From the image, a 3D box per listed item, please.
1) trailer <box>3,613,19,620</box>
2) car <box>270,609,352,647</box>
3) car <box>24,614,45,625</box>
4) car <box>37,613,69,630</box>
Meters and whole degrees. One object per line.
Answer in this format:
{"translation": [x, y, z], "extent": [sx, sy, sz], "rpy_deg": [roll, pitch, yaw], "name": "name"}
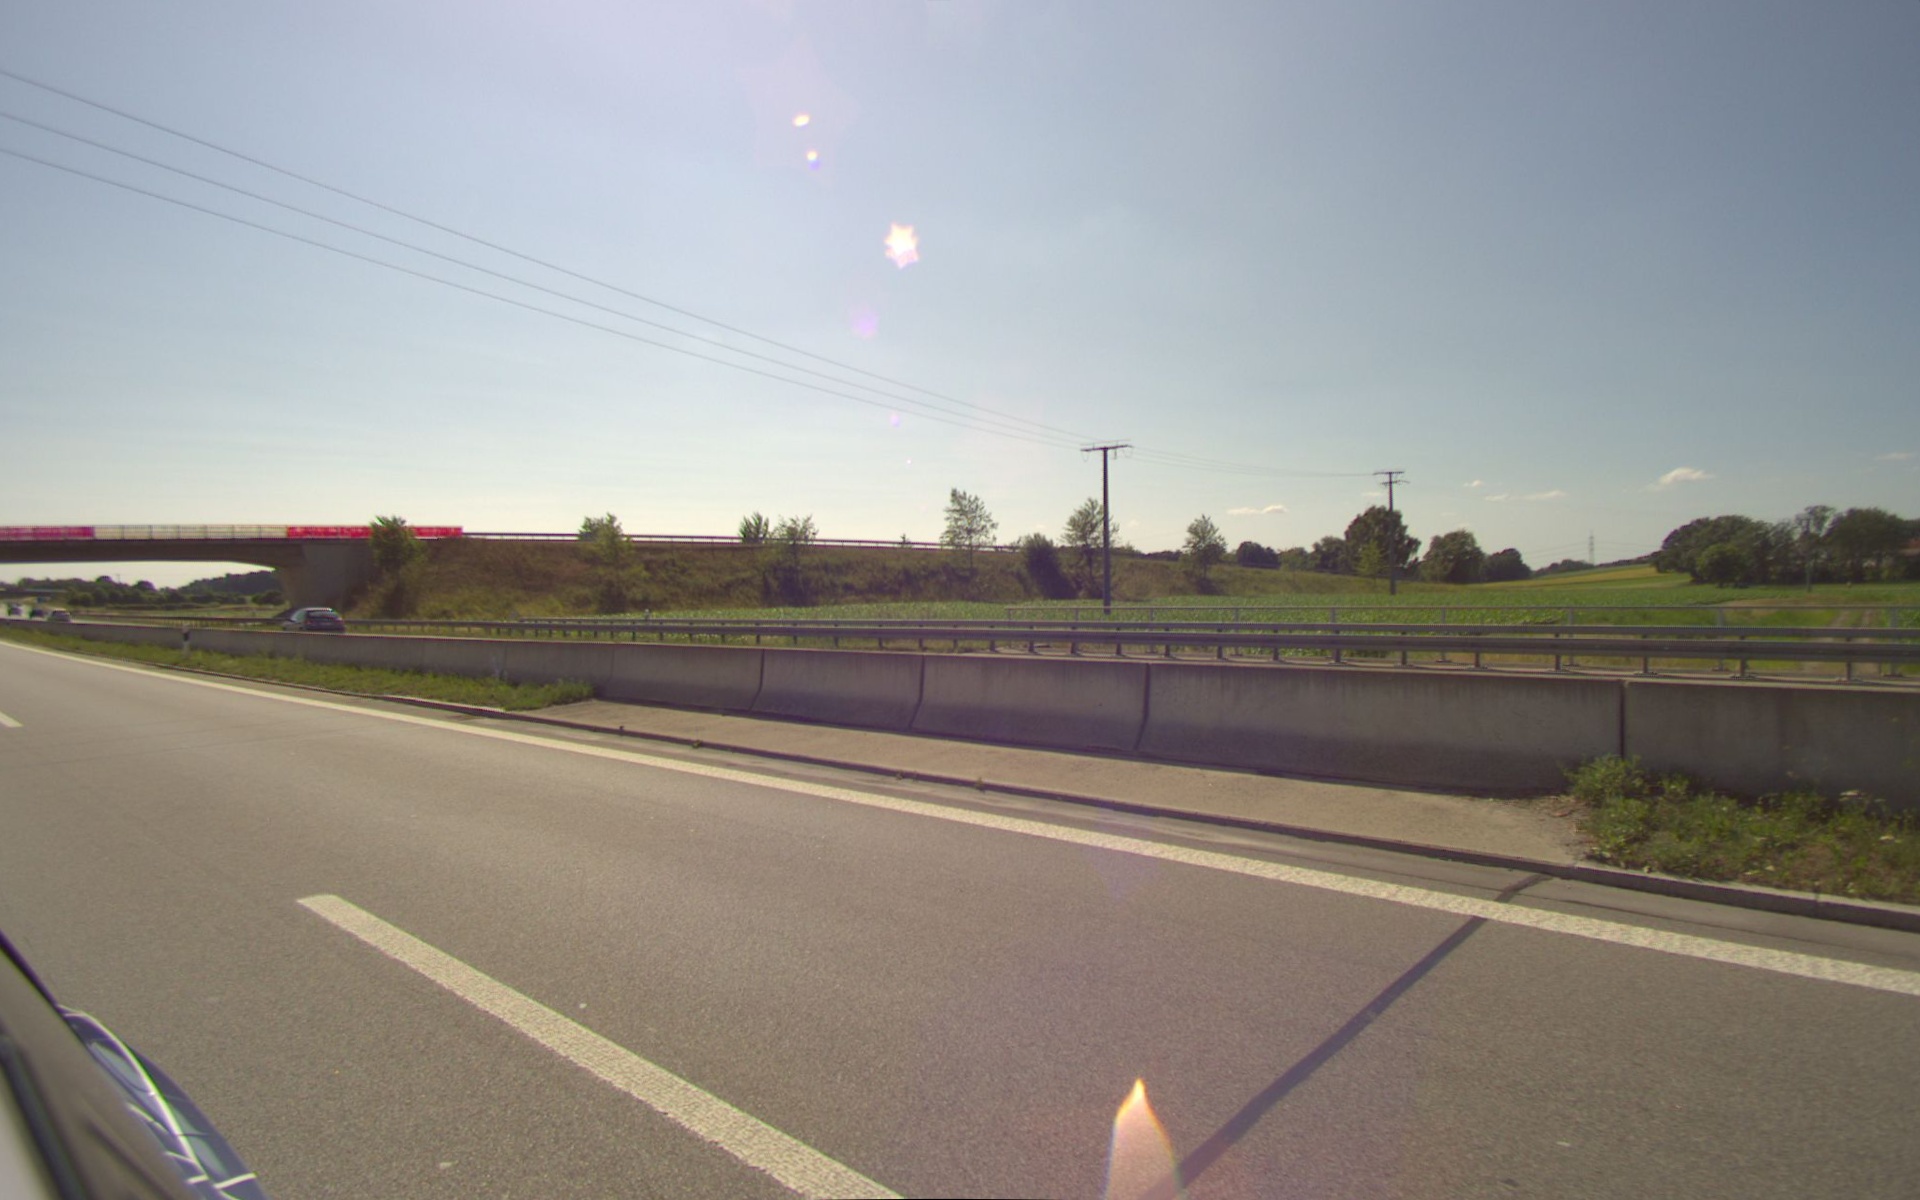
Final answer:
{"translation": [-172.028, 3.021, 183.453], "extent": [4.263, 1.267, 1.972], "rpy_deg": [-1, 0, 43], "name": "trailer"}
{"translation": [-28.617, 1.213, 44.578], "extent": [4.584, 1.525, 1.840], "rpy_deg": [-1, 1, 42], "name": "car"}
{"translation": [-134.460, 2.825, 147.022], "extent": [4.195, 1.471, 1.835], "rpy_deg": [-1, 0, 43], "name": "car"}
{"translation": [-95.204, 2.254, 106.226], "extent": [4.896, 1.590, 1.972], "rpy_deg": [0, 1, 43], "name": "car"}
